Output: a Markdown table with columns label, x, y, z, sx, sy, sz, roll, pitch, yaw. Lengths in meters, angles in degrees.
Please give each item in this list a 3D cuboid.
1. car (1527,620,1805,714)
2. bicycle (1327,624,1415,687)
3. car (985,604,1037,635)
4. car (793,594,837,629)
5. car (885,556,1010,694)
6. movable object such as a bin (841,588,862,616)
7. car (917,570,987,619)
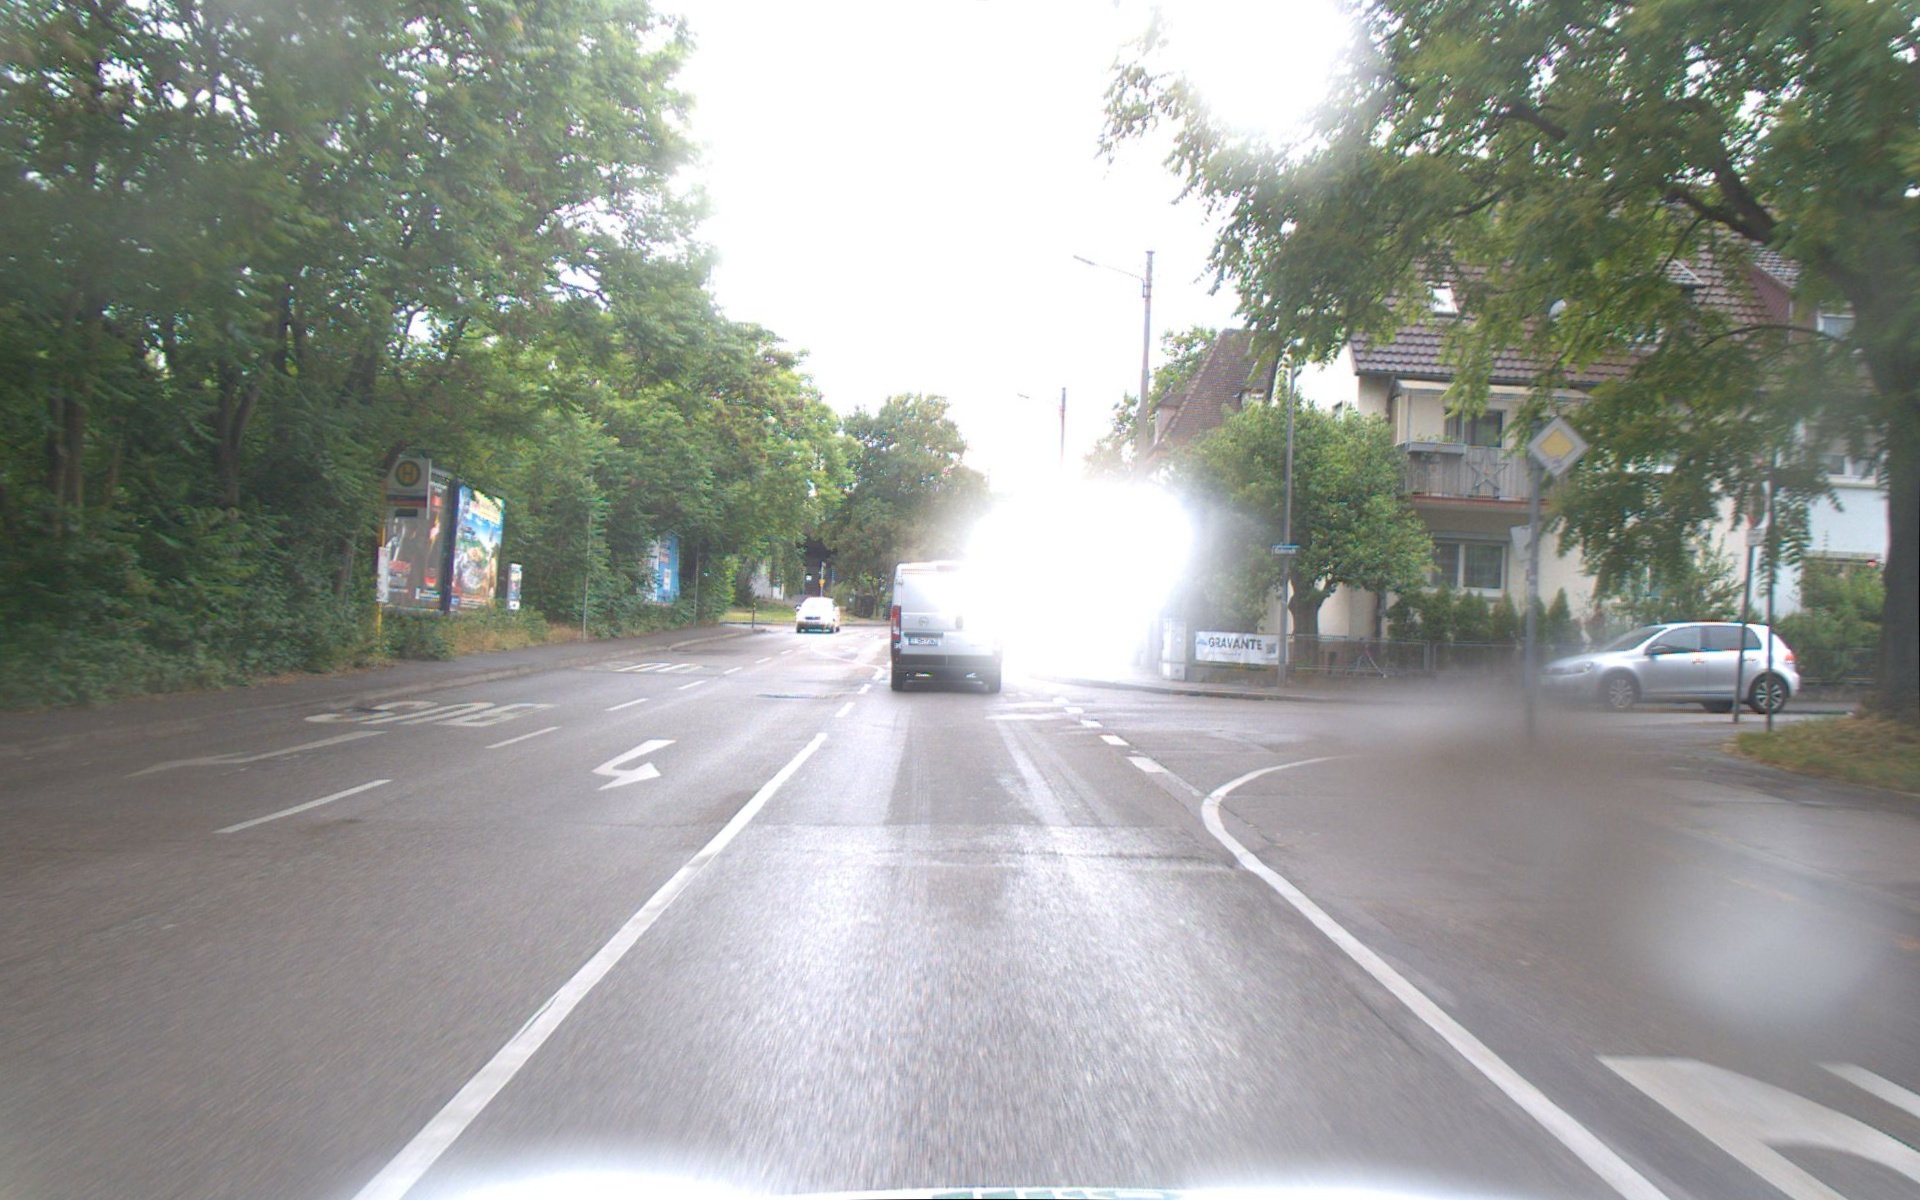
| label | x | y | z | sx | sy | sz | roll | pitch | yaw |
| --- | --- | --- | --- | --- | --- | --- | --- | --- | --- |
| car | 11.633 | 1.112 | 27.411 | 3.908 | 1.448 | 1.703 | 1 | -2 | -3 |
| bicycle | 7.739 | 1.037 | 31.177 | 1.538 | 1.134 | 0.457 | 1 | 0 | 3 |
| car | 2.789 | 1.085 | 89.858 | 1.729 | 1.537 | 3.756 | 3 | 0 | 18 |
| car | -6.265 | 0.486 | 71.729 | 1.620 | 1.442 | 3.935 | 0 | 0 | -1 |
| car | -0.221 | 0.464 | 31.189 | 2.102 | 2.323 | 5.062 | 2 | -1 | 0 |
| movable object such as a bin | -6.748 | 0.129 | 102.948 | 0.921 | 1.590 | 1.131 | 8 | 0 | 4 |
| car | -0.492 | -0.359 | 113.735 | 2.481 | 3.070 | 7.213 | 3 | 0 | 18 |
